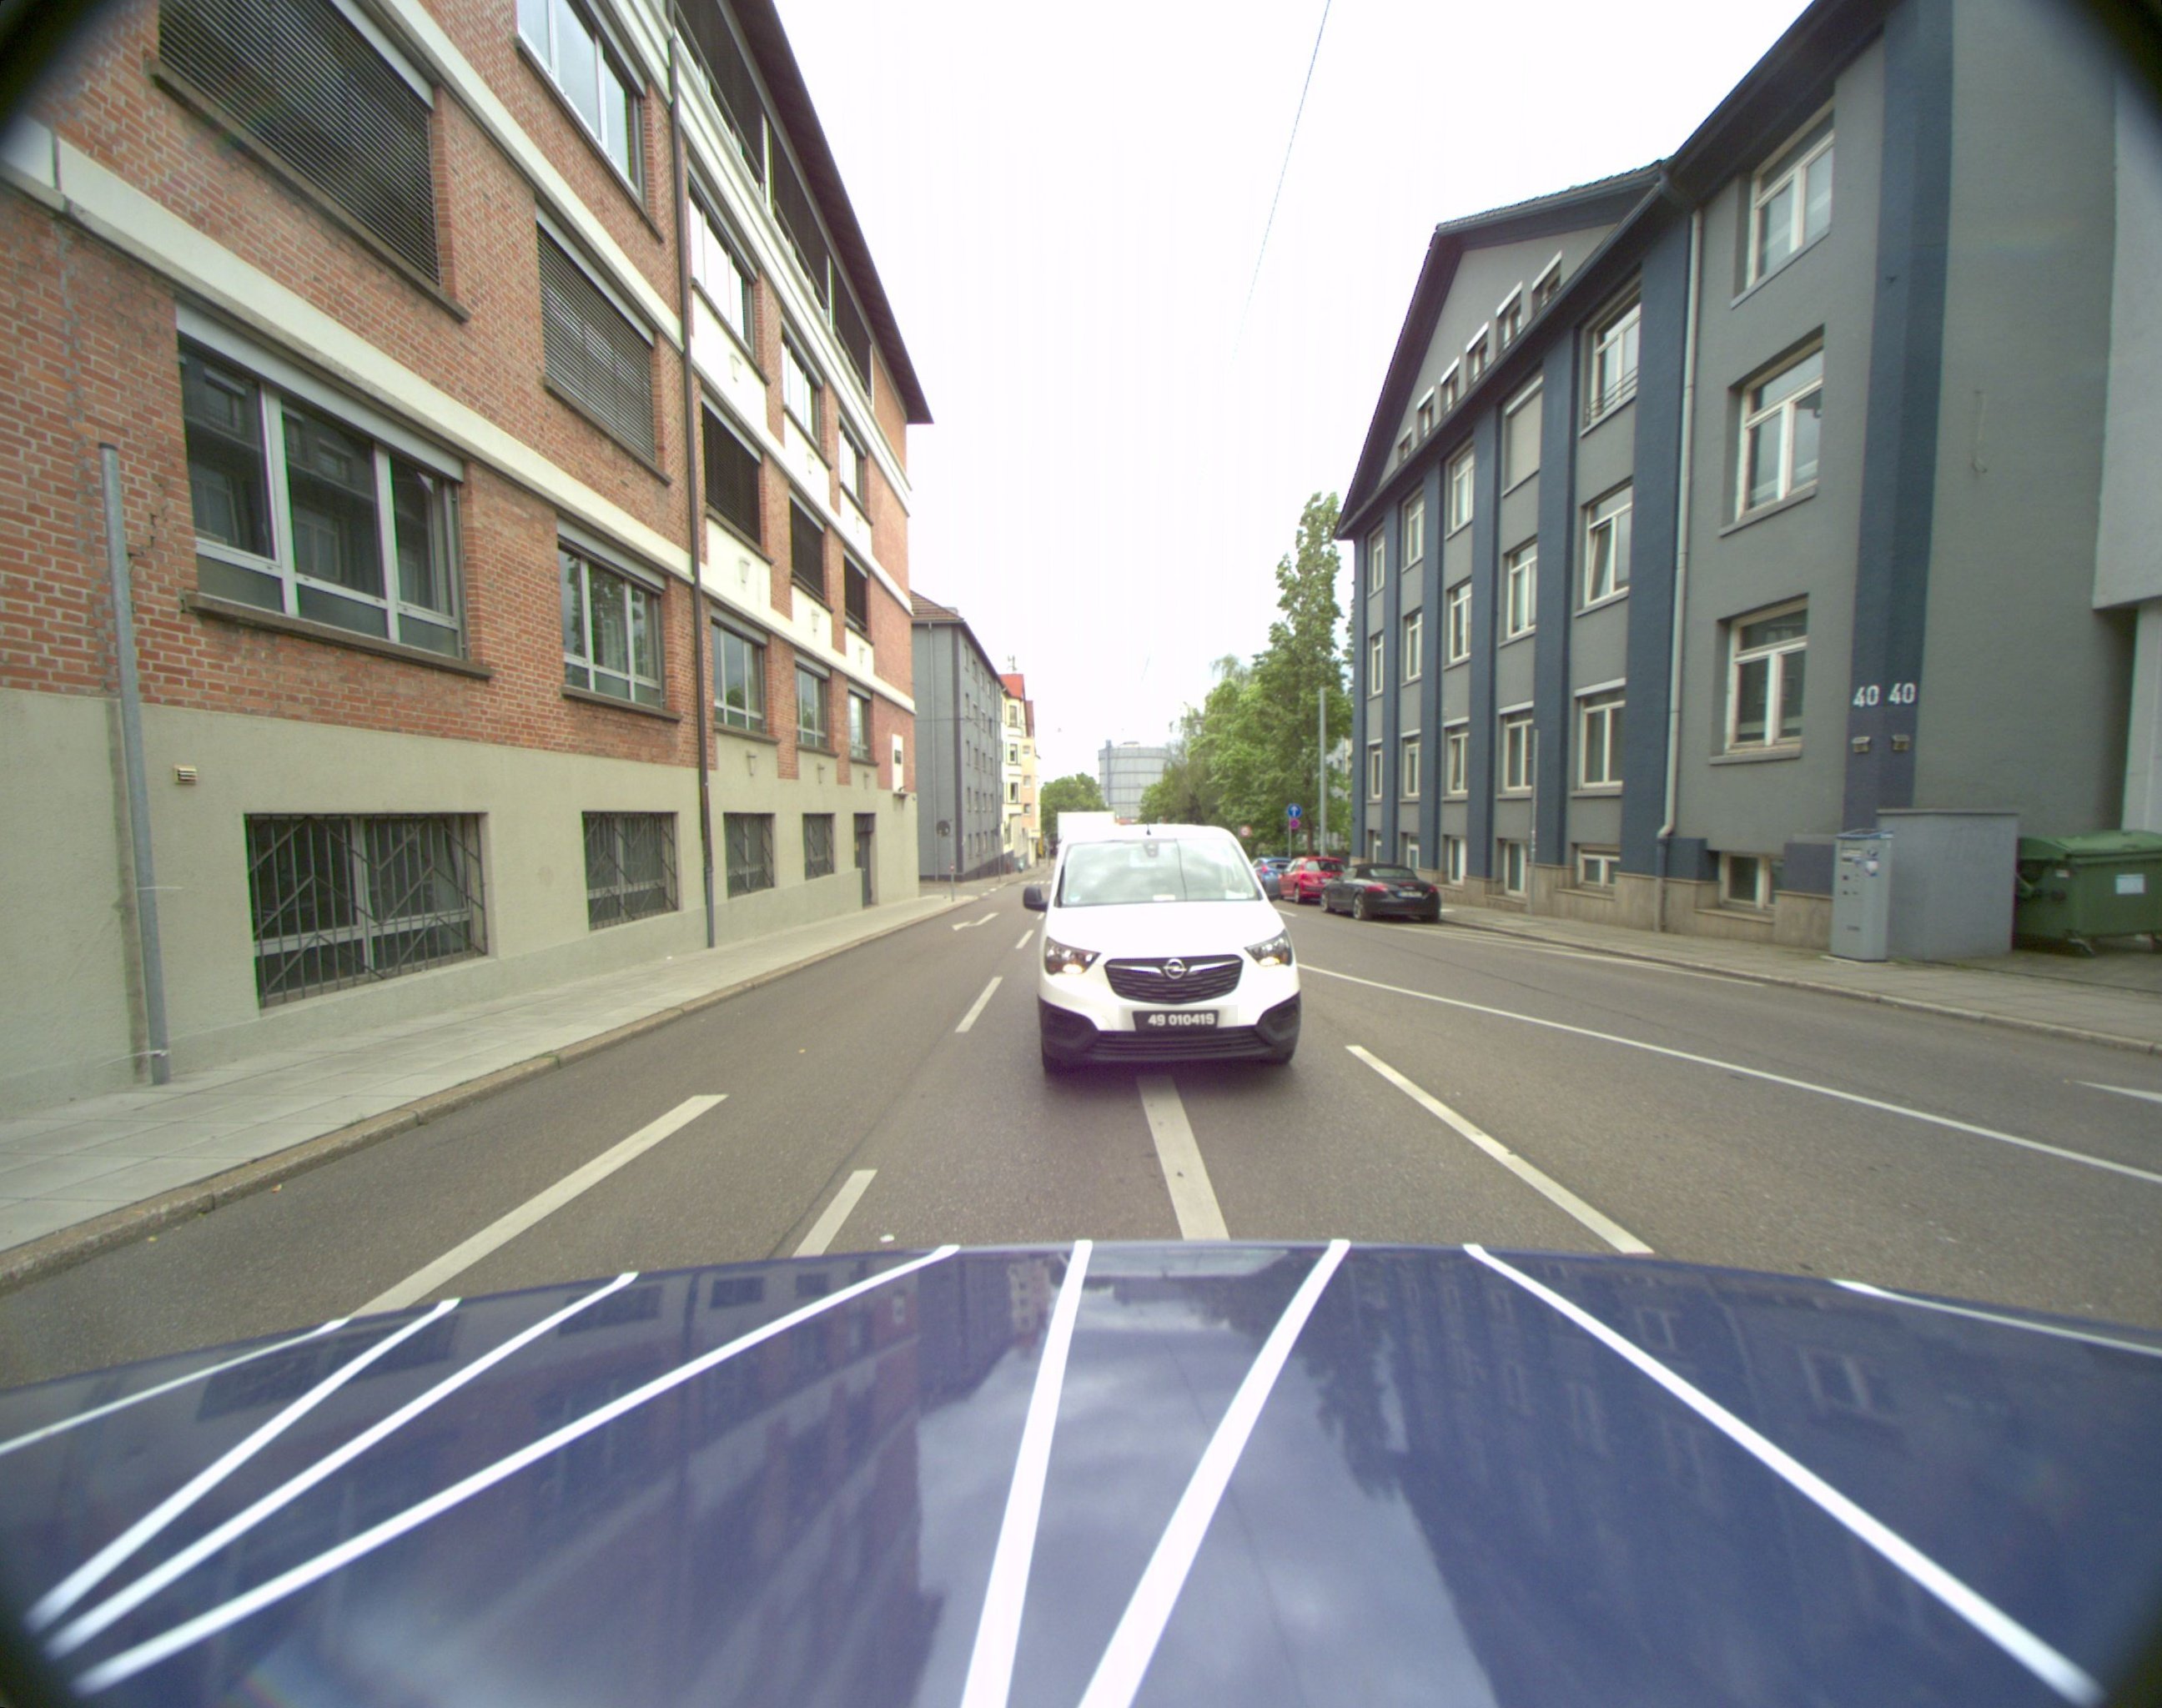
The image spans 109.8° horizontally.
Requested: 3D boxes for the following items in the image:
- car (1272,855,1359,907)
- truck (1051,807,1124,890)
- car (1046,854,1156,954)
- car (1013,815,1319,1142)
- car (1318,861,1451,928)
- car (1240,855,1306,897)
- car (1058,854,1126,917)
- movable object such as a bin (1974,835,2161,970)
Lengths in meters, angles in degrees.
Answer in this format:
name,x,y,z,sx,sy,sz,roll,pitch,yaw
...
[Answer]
name,x,y,z,sx,sy,sz,roll,pitch,yaw
car,7.414,0.801,24.345,1.644,1.441,3.729,-2,1,1
truck,0.356,-0.278,36.661,2.969,3.409,8.879,-2,1,1
car,0.355,0.818,14.396,1.739,1.519,3.999,-2,1,1
car,0.533,0.720,6.489,1.739,1.875,3.999,-2,1,1
car,7.246,0.916,18.541,1.801,1.384,3.729,0,1,1
car,7.458,0.822,29.877,1.644,1.441,3.729,-2,1,1
car,0.317,0.829,21.888,1.739,1.519,3.999,-2,1,1
movable object such as a bin,12.074,0.550,9.224,1.229,1.498,1.040,-2,1,1
